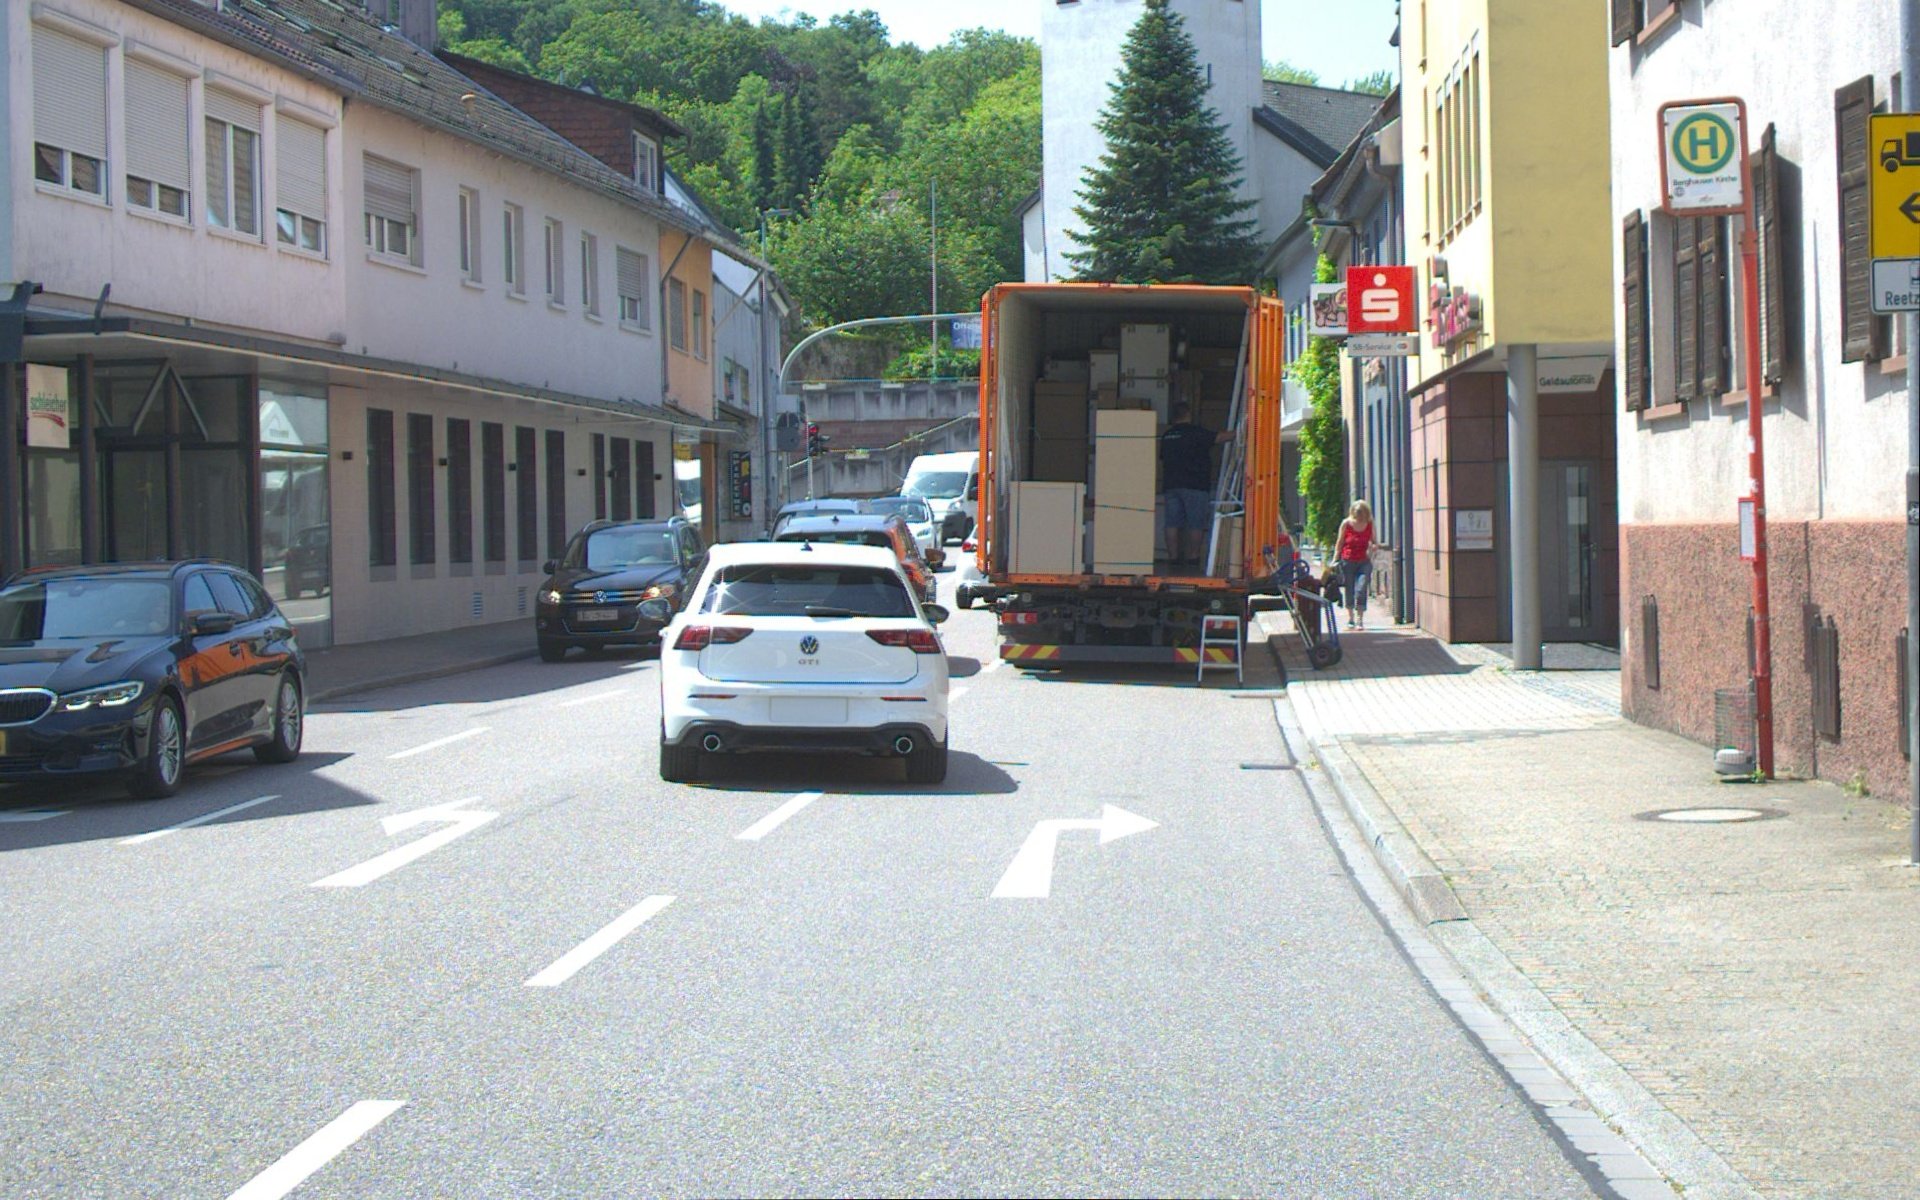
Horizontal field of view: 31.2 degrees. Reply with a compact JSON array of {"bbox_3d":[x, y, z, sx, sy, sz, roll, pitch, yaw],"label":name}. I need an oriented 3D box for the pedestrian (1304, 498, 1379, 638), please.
[{"bbox_3d":[4.825,-0.402,43.511,0.769,1.736,0.871,-2,0,-2],"label":"pedestrian"}]

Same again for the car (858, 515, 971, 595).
[{"bbox_3d":[-0.959,-0.977,75.184,1.994,1.645,3.999,-2,0,5],"label":"car"}]

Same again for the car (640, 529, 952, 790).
[{"bbox_3d":[-0.975,0.332,22.044,1.815,1.514,4.000,0,0,-1],"label":"car"}]

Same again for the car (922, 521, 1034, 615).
[{"bbox_3d":[0.283,-0.550,59.572,1.815,1.514,4.000,-2,0,-1],"label":"car"}]

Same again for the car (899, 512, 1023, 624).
[{"bbox_3d":[-0.001,-0.501,53.684,1.815,1.623,4.000,-2,0,-1],"label":"car"}]

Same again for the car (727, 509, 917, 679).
[{"bbox_3d":[-1.385,-0.074,35.972,1.815,1.623,4.000,-2,0,-1],"label":"car"}]

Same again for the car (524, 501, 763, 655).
[{"bbox_3d":[-3.822,-0.307,42.217,1.692,1.693,4.110,-2,2,13],"label":"car"}]

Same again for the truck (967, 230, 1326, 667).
[{"bbox_3d":[1.962,-1.519,38.329,3.367,4.156,9.518,-2,0,2],"label":"truck"}]

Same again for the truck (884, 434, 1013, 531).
[{"bbox_3d":[-0.263,-3.175,94.298,2.119,2.466,5.732,-2,0,14],"label":"truck"}]

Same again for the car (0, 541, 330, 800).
[{"bbox_3d":[-5.601,0.406,22.308,1.794,1.487,4.420,-2,0,5],"label":"car"}]

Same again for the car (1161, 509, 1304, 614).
[{"bbox_3d":[4.209,-0.599,53.629,1.815,1.514,4.000,-2,0,-1],"label":"car"}]

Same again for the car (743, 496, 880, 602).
[{"bbox_3d":[-2.620,-0.953,61.780,1.802,1.773,4.704,-2,2,5],"label":"car"}]
